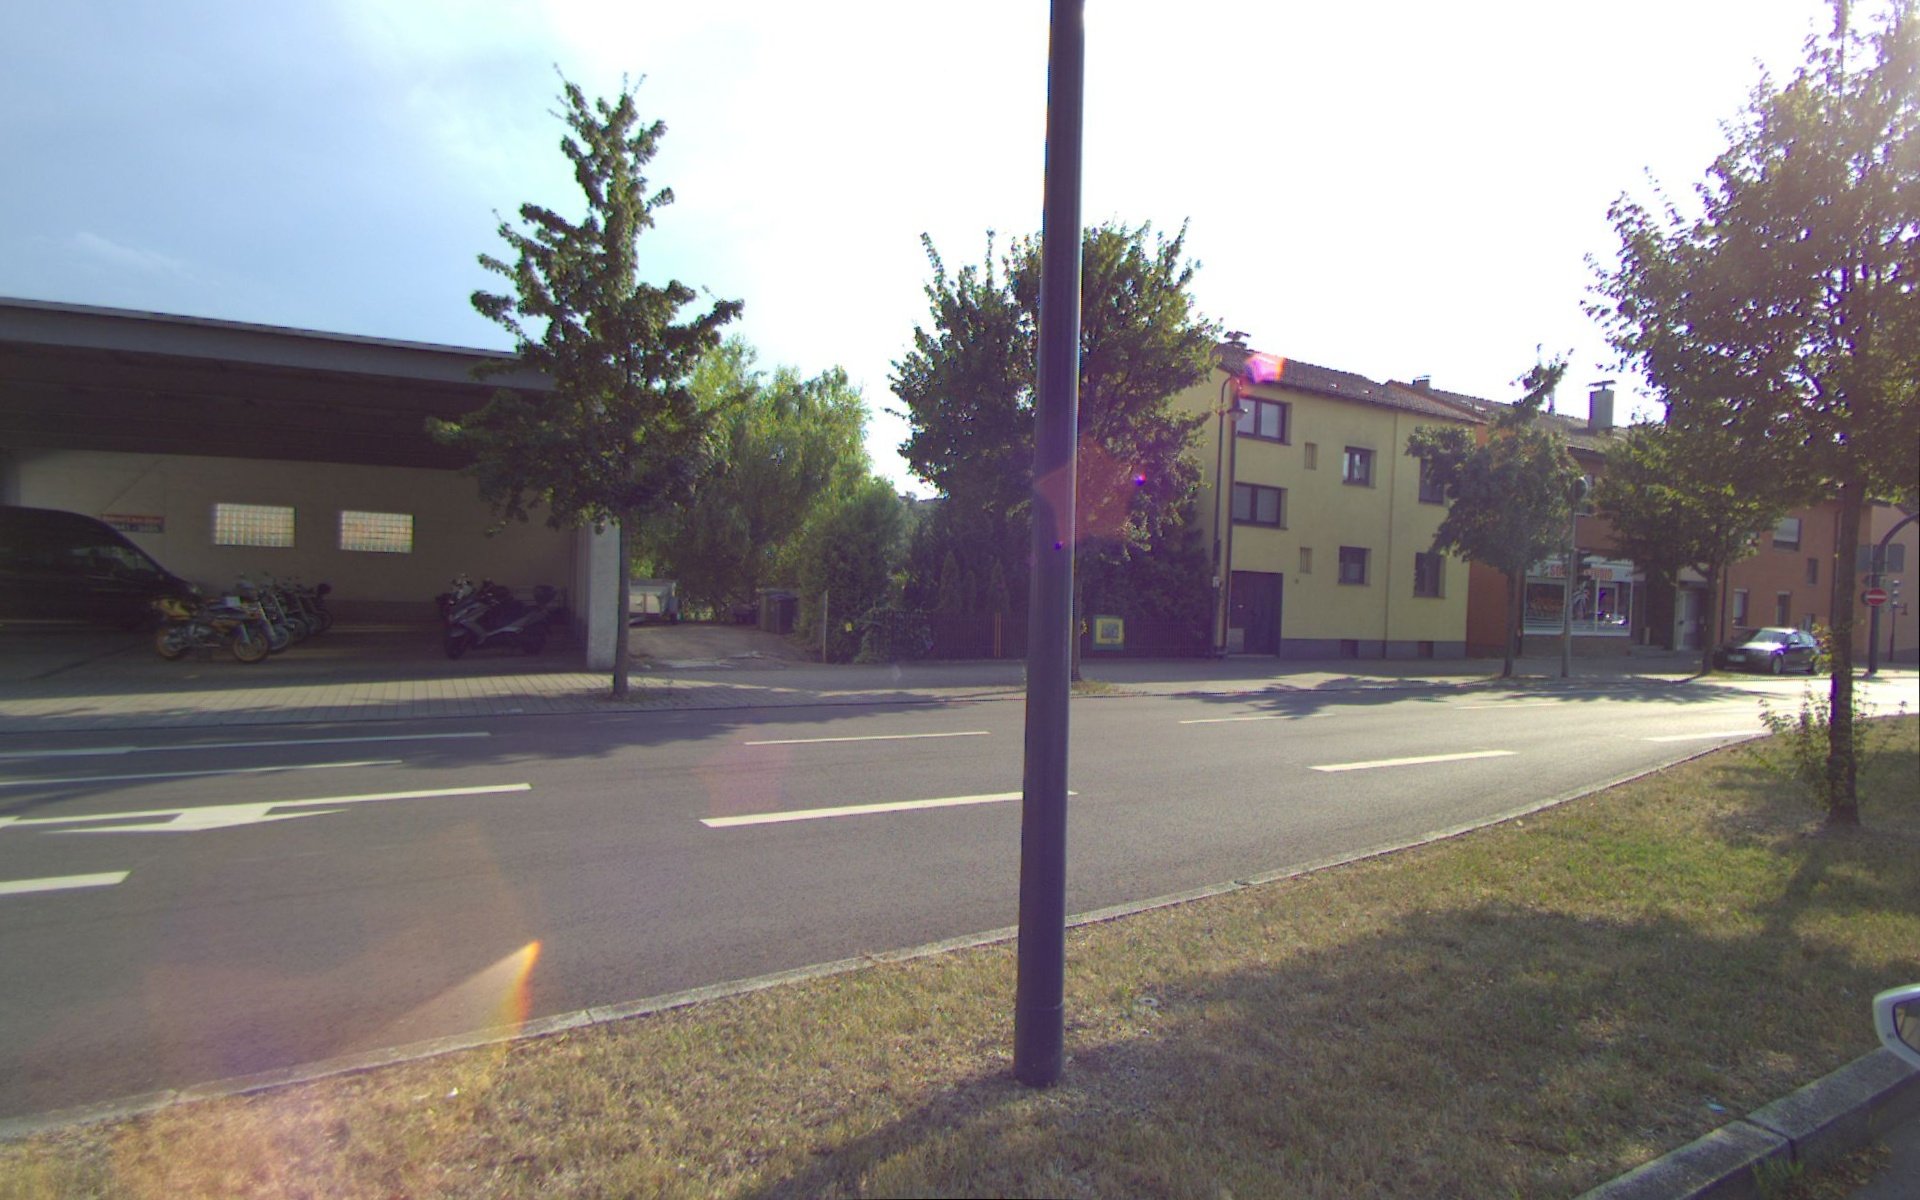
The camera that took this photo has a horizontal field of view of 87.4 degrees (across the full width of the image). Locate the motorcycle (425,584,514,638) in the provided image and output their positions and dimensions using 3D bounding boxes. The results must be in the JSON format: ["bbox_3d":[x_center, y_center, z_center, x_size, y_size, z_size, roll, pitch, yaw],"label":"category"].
[{"bbox_3d":[-12.566,0.272,25.804,0.553,1.325,2.086,1,0,30],"label":"motorcycle"}]

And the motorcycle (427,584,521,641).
[{"bbox_3d":[-11.799,0.312,24.462,0.573,1.325,2.086,1,0,30],"label":"motorcycle"}]

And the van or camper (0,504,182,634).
[{"bbox_3d":[-20.496,-0.659,22.047,1.963,2.716,5.032,1,0,27],"label":"van or camper"}]

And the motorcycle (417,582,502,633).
[{"bbox_3d":[-13.508,0.207,27.171,0.553,1.325,2.086,1,0,30],"label":"motorcycle"}]

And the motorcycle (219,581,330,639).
[{"bbox_3d":[-15.829,0.225,23.229,2.111,1.275,0.647,1,0,0],"label":"motorcycle"}]

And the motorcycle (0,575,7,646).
[{"bbox_3d":[-18.635,0.187,18.101,0.637,1.329,2.007,1,0,23],"label":"motorcycle"}]

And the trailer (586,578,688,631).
[{"bbox_3d":[-8.113,0.068,25.528,1.692,1.199,3.594,1,1,-5],"label":"trailer"}]

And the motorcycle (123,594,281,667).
[{"bbox_3d":[-12.507,0.491,16.600,2.111,1.139,0.631,1,0,0],"label":"motorcycle"}]

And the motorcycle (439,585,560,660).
[{"bbox_3d":[-8.626,0.419,18.922,0.553,1.325,2.112,1,0,30],"label":"motorcycle"}]

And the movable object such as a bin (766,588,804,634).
[{"bbox_3d":[-4.338,0.269,24.821,0.688,1.101,0.727,1,3,-30],"label":"movable object such as a bin"}]

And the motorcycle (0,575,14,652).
[{"bbox_3d":[-17.239,0.221,16.773,0.637,1.329,2.007,1,0,23],"label":"motorcycle"}]

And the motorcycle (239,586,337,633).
[{"bbox_3d":[-17.066,0.237,25.529,2.111,1.138,0.563,1,0,0],"label":"motorcycle"}]

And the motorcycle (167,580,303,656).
[{"bbox_3d":[-13.544,0.324,18.778,2.111,1.347,0.563,1,0,0],"label":"motorcycle"}]

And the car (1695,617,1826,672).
[{"bbox_3d":[25.967,1.437,32.574,3.949,1.573,1.836,1,2,-27],"label":"car"}]

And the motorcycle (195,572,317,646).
[{"bbox_3d":[-14.708,0.190,21.011,2.111,1.468,0.594,1,0,0],"label":"motorcycle"}]

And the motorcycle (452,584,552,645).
[{"bbox_3d":[-10.476,0.339,23.050,0.612,1.325,2.086,1,0,30],"label":"motorcycle"}]

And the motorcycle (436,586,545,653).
[{"bbox_3d":[-9.665,0.395,20.783,0.553,1.325,2.086,1,0,30],"label":"motorcycle"}]

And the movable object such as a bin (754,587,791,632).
[{"bbox_3d":[-4.779,0.240,25.593,0.712,1.101,0.727,1,3,-30],"label":"movable object such as a bin"}]
